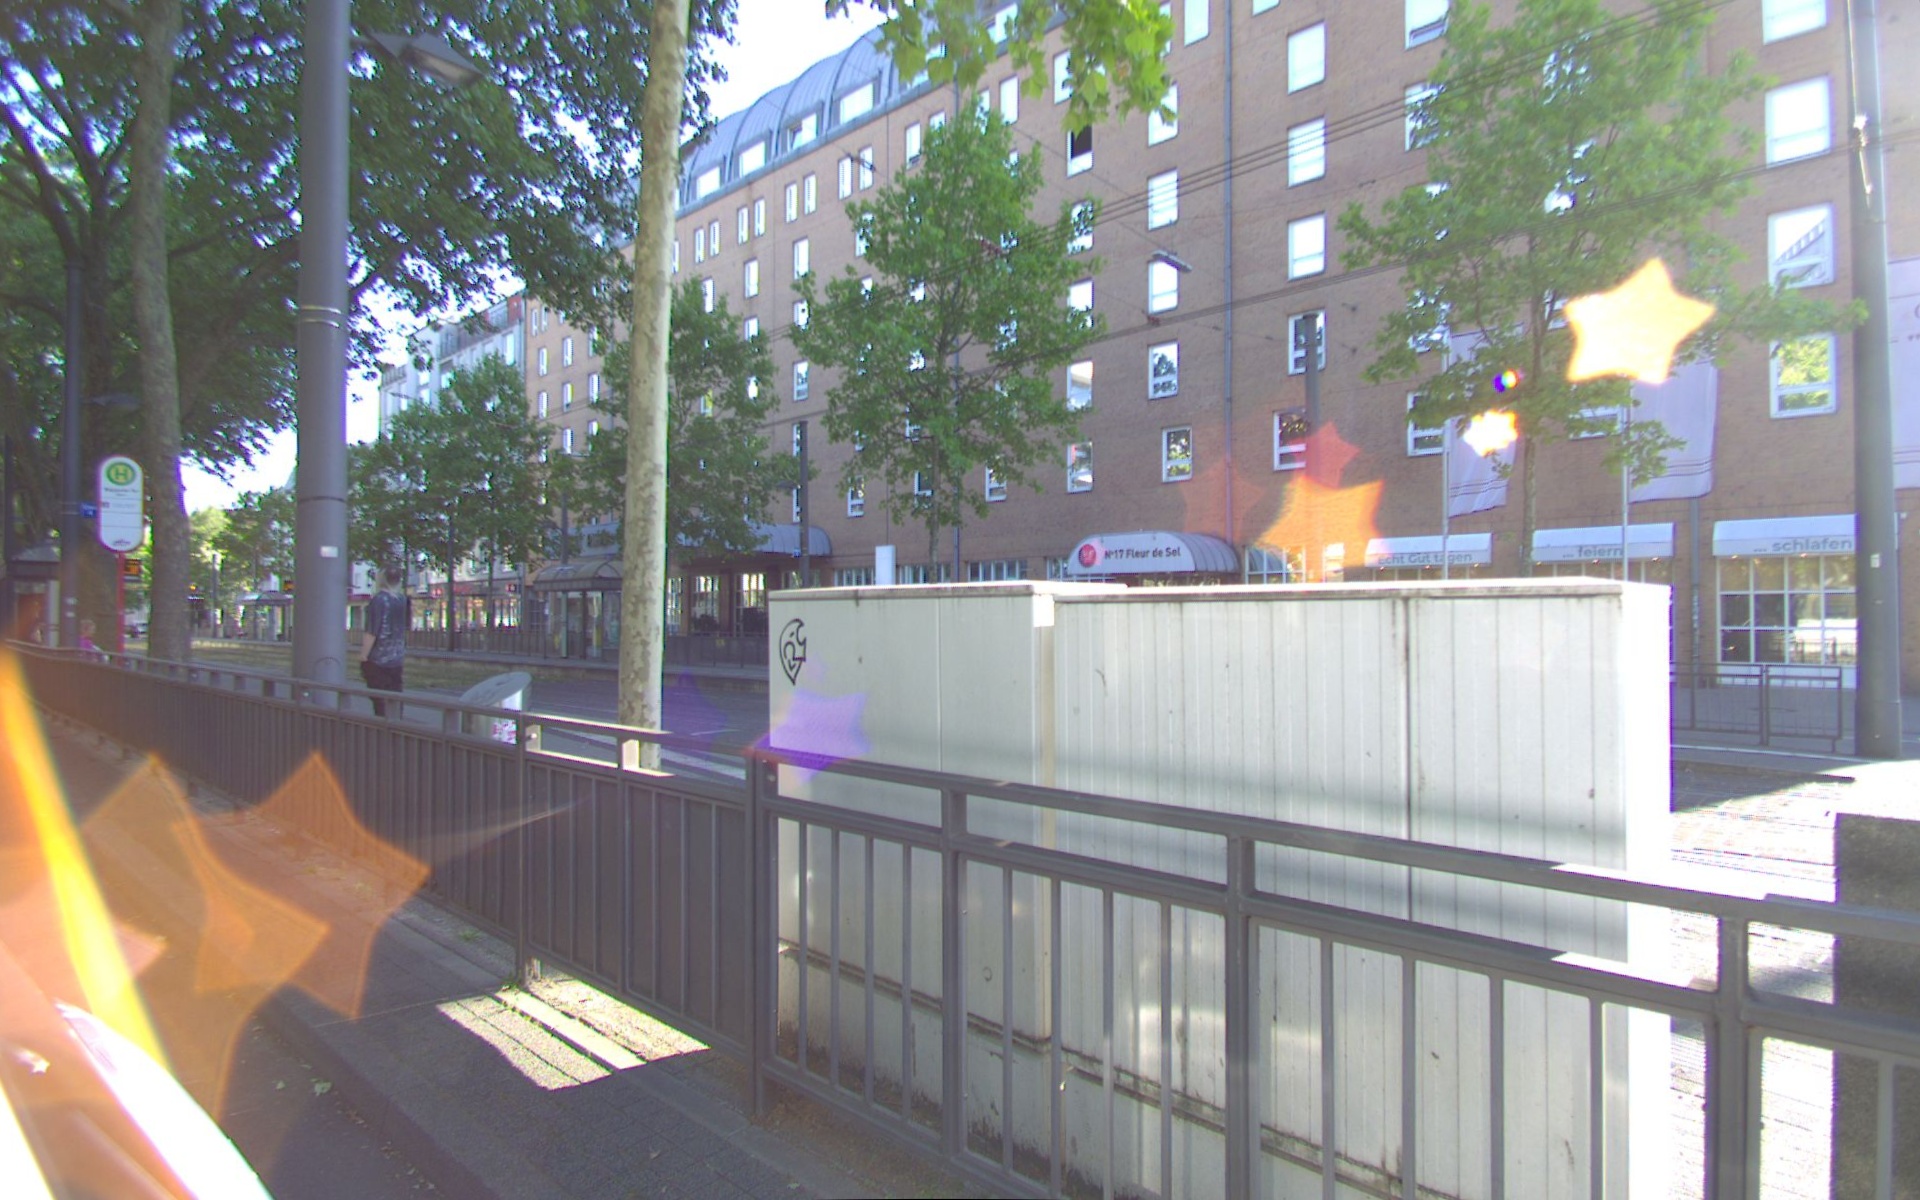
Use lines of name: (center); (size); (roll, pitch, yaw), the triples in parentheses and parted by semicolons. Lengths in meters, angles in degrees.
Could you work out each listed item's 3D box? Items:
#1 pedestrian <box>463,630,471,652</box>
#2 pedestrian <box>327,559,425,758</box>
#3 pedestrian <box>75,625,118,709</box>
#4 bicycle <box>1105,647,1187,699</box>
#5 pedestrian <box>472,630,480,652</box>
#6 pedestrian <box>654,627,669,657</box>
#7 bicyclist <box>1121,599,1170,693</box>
pedestrian: (-34.060, 2.835, 69.944); (0.431, 1.518, 0.660); (1, -2, -27)
pedestrian: (-5.810, 0.550, 10.076); (0.620, 1.897, 0.600); (1, 0, 29)
pedestrian: (-13.950, 1.063, 16.352); (0.493, 1.325, 0.419); (1, -2, -41)
bicycle: (3.887, 1.512, 21.268); (0.444, 1.012, 1.754); (2, -2, -44)
pedestrian: (-33.574, 2.815, 70.229); (0.431, 1.532, 0.660); (1, -2, -27)
pedestrian: (-14.578, 2.057, 49.364); (0.516, 1.447, 0.512); (-2, -2, 44)
bicyclist: (3.878, 0.951, 21.171); (0.564, 1.918, 0.814); (2, -2, -43)
